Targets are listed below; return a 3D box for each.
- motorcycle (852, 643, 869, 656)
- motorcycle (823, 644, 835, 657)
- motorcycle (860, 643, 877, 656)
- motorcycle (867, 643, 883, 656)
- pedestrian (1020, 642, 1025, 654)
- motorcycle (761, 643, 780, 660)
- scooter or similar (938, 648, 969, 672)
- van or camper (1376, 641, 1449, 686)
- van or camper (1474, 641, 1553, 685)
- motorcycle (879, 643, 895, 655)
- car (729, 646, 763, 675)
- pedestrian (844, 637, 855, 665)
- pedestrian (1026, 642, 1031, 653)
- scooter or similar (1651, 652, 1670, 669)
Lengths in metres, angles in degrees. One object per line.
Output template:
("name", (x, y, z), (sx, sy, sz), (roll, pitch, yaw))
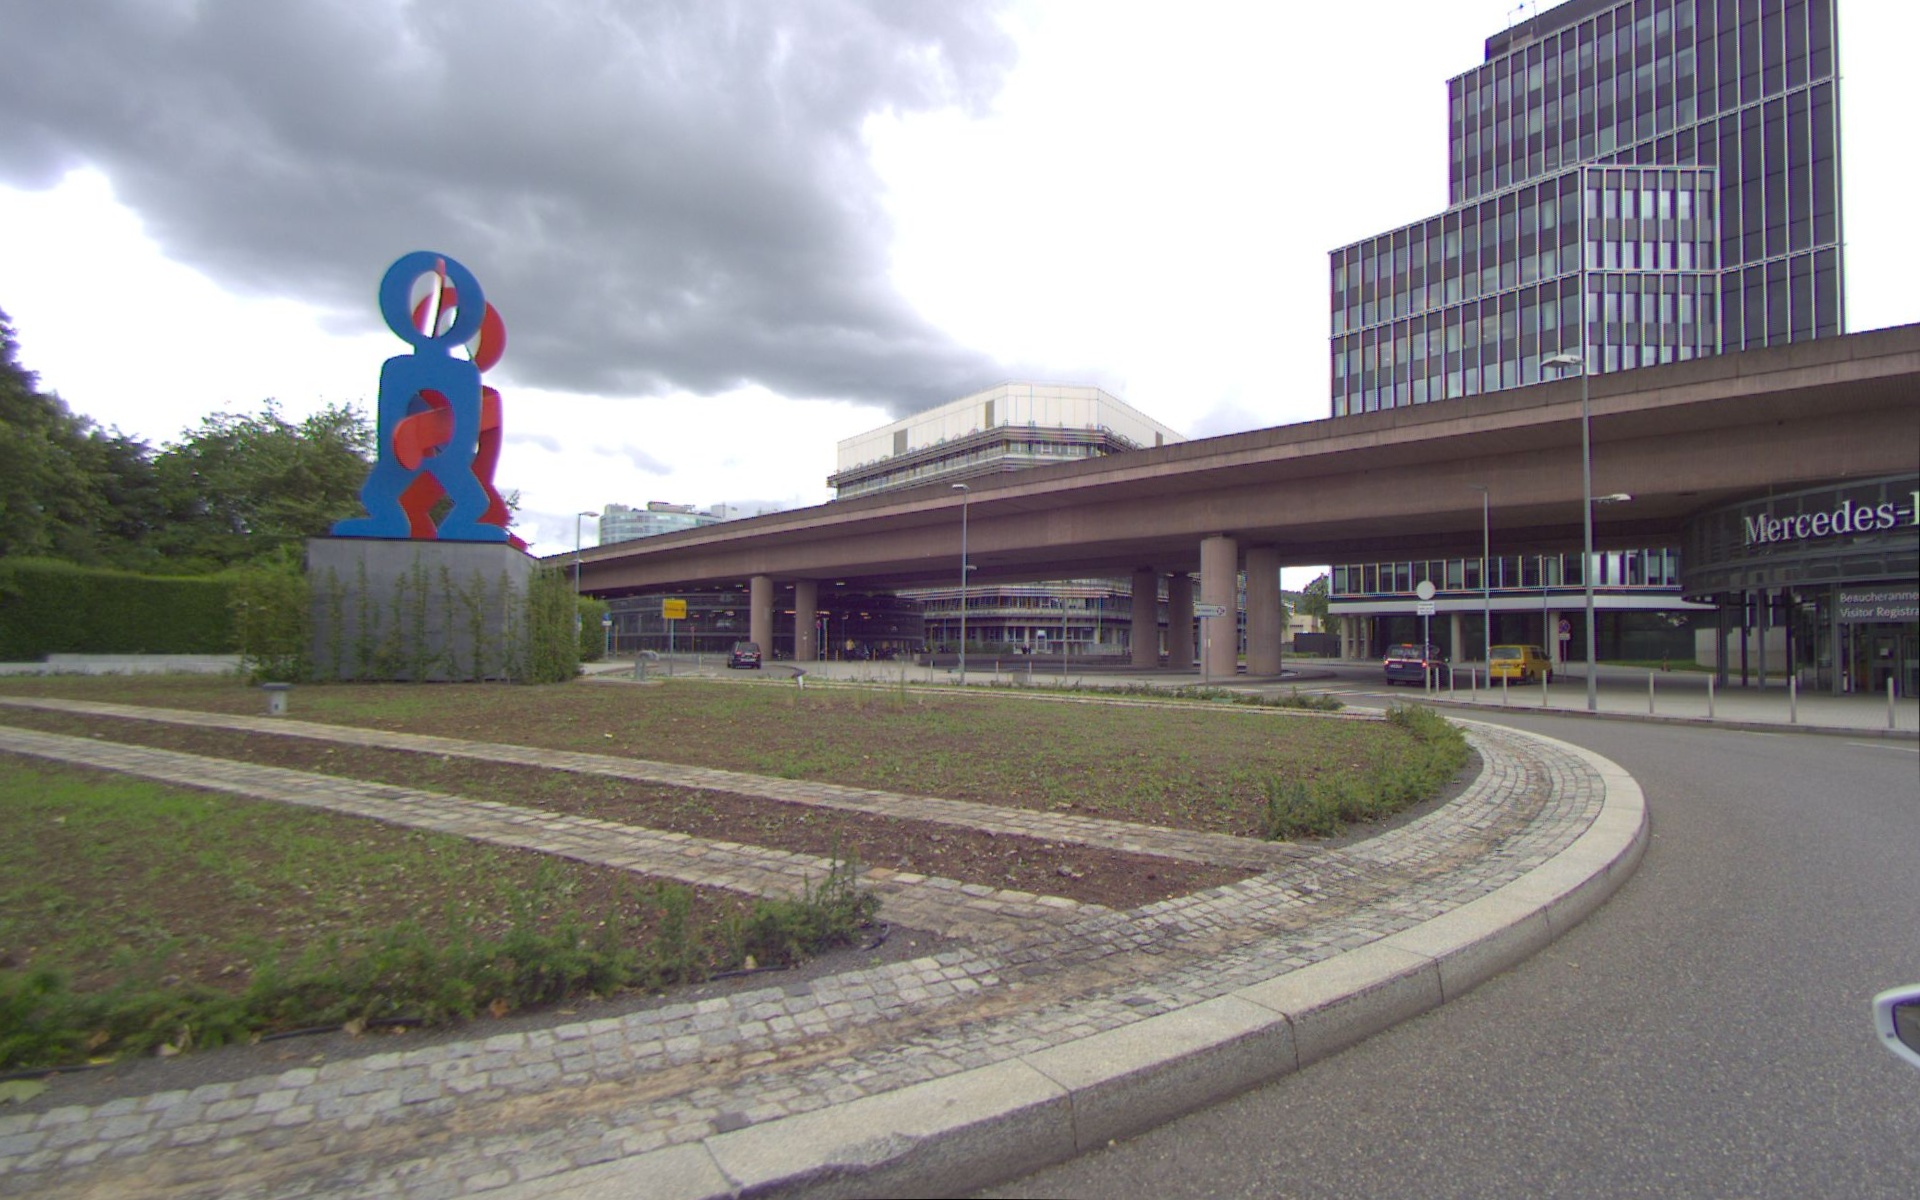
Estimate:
("motorcycle", (-9.930, 4.945, 100.407), (0.668, 1.236, 2.056), (2, -2, -38))
("motorcycle", (-12.858, 4.930, 98.329), (0.819, 1.236, 2.071), (1, -1, -17))
("motorcycle", (-9.230, 4.977, 100.945), (0.668, 1.236, 2.056), (2, -2, -38))
("motorcycle", (-8.584, 4.978, 101.492), (0.668, 1.303, 2.056), (2, -2, -38))
("pedestrian", (8.081, 6.151, 129.016), (0.487, 1.501, 0.545), (0, -1, 19))
("motorcycle", (-17.485, 4.756, 92.774), (1.733, 1.474, 0.642), (0, -1, 35))
("scooter or similar", (-0.369, 3.275, 54.770), (1.626, 1.313, 0.515), (1, -1, -24))
("van or camper", (21.103, 2.890, 46.753), (2.119, 1.918, 4.884), (0, -2, 36))
("van or camper", (27.443, 3.052, 49.726), (2.330, 2.025, 4.477), (-1, -2, 44))
("motorcycle", (-7.462, 4.995, 102.501), (0.668, 1.236, 2.056), (2, -2, -38))
("car", (-13.957, 3.920, 65.284), (1.816, 1.734, 3.691), (1, -1, -17))
("pedestrian", (-8.233, 3.785, 74.832), (0.770, 2.040, 1.038), (1, -1, -7))
("pedestrian", (8.935, 6.145, 130.341), (0.487, 1.501, 0.545), (0, -1, 19))
("scooter or similar", (46.923, 4.060, 67.304), (0.687, 1.119, 1.501), (0, -1, 21))
